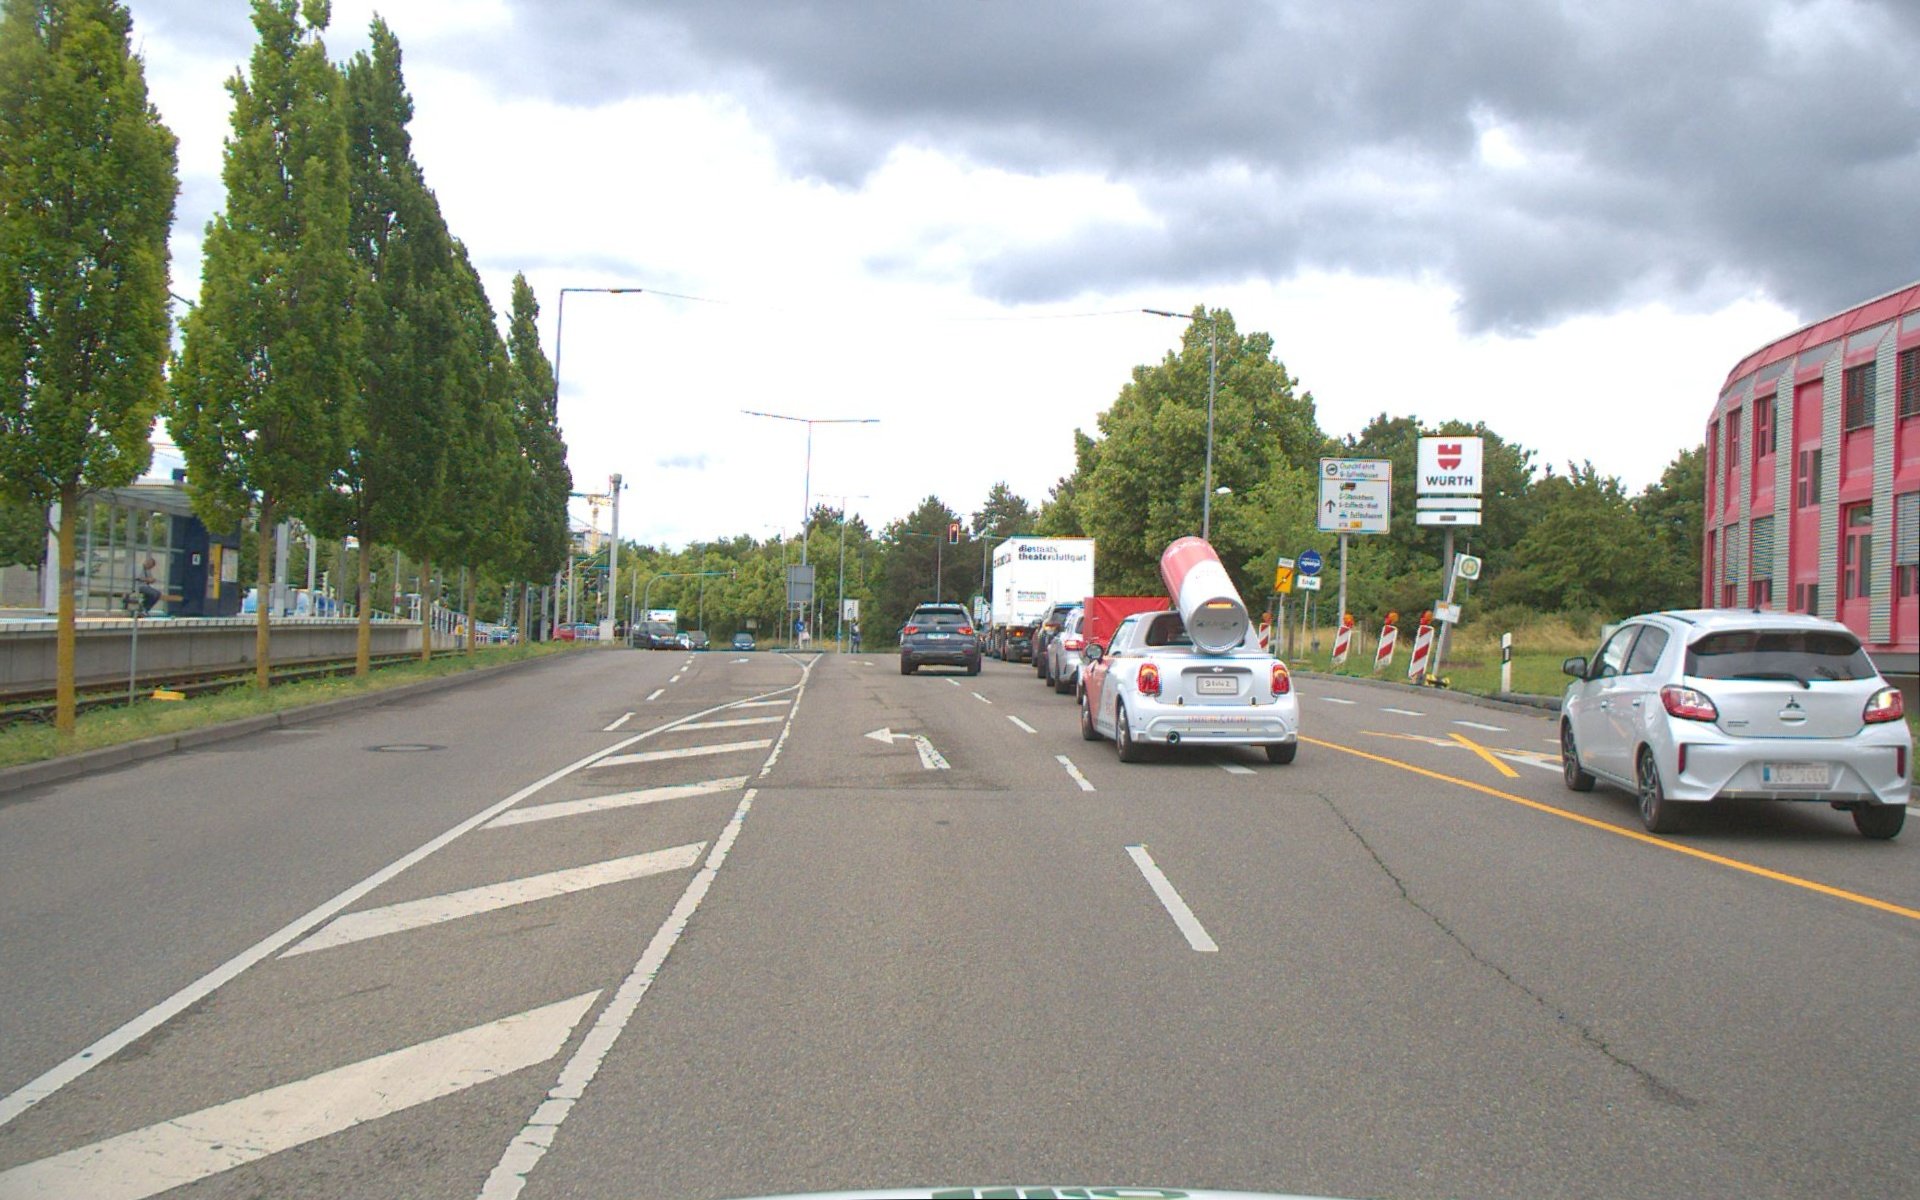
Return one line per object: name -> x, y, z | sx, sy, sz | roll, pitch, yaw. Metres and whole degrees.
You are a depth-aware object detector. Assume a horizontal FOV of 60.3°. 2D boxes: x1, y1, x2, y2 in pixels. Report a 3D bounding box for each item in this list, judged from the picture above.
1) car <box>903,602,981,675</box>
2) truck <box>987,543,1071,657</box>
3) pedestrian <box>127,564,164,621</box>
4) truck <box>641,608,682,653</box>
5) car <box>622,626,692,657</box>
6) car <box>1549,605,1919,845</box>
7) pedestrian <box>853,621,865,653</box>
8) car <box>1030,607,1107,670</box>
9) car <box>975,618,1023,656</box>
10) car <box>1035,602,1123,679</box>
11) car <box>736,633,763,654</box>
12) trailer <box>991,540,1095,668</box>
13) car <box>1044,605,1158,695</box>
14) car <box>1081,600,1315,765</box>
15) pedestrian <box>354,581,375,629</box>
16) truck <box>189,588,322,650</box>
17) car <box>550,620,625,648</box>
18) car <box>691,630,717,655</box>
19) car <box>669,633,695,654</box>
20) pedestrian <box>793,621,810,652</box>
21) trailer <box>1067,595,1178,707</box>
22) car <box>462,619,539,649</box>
car -> -0.450, 0.829, 37.333 | 1.664, 1.512, 3.998 | 0, 0, -2
truck -> 2.341, -0.036, 57.340 | 2.519, 3.770, 4.104 | 1, 1, -3
pedestrian -> -18.638, -0.185, 37.852 | 0.598, 1.291, 0.658 | 0, 1, -9
truck -> -26.374, 2.654, 145.858 | 2.617, 3.713, 9.461 | 2, -1, -16
car -> -16.355, 2.229, 89.232 | 3.636, 1.601, 1.723 | 0, -2, 39
car -> 5.604, 0.802, 12.317 | 1.588, 1.483, 3.692 | 1, 0, 8
pedestrian -> -5.359, 1.948, 87.688 | 0.575, 1.650, 0.423 | 1, 1, -6
car -> 2.787, 0.996, 43.284 | 1.672, 1.551, 4.318 | 1, -1, -1
car -> 1.538, 1.461, 66.487 | 1.775, 1.378, 4.117 | 0, 0, -1
car -> 2.590, 0.863, 36.792 | 1.806, 1.588, 4.405 | 0, 0, 2
car -> -17.570, 3.627, 138.156 | 1.877, 1.603, 3.998 | 1, 1, -3
trailer -> 2.547, 0.040, 53.109 | 2.514, 3.770, 7.760 | 1, 1, -3
car -> 2.459, 0.848, 29.671 | 1.637, 1.473, 4.489 | 1, -1, 0
car -> 2.318, 0.775, 16.987 | 1.684, 1.483, 3.694 | 1, -1, -3
pedestrian -> -23.280, 0.200, 64.664 | 0.561, 1.860, 0.792 | 1, -2, -7
truck -> -43.710, 1.156, 102.766 | 7.091, 3.661, 2.692 | 1, 1, 0
car -> -21.558, 1.960, 95.729 | 3.990, 1.514, 1.708 | 1, -2, 22
car -> -22.290, 3.713, 144.129 | 1.878, 1.759, 3.995 | 1, -6, -5
car -> -23.041, 3.576, 137.369 | 1.740, 1.534, 3.744 | -1, 1, -4
pedestrian -> -8.165, 1.883, 85.419 | 0.847, 1.588, 0.517 | 1, 1, -6
trailer -> 2.477, 0.750, 25.774 | 1.380, 1.622, 3.303 | 1, 0, 0
car -> -27.046, 2.018, 97.414 | 3.903, 1.623, 2.001 | 1, 1, 5
